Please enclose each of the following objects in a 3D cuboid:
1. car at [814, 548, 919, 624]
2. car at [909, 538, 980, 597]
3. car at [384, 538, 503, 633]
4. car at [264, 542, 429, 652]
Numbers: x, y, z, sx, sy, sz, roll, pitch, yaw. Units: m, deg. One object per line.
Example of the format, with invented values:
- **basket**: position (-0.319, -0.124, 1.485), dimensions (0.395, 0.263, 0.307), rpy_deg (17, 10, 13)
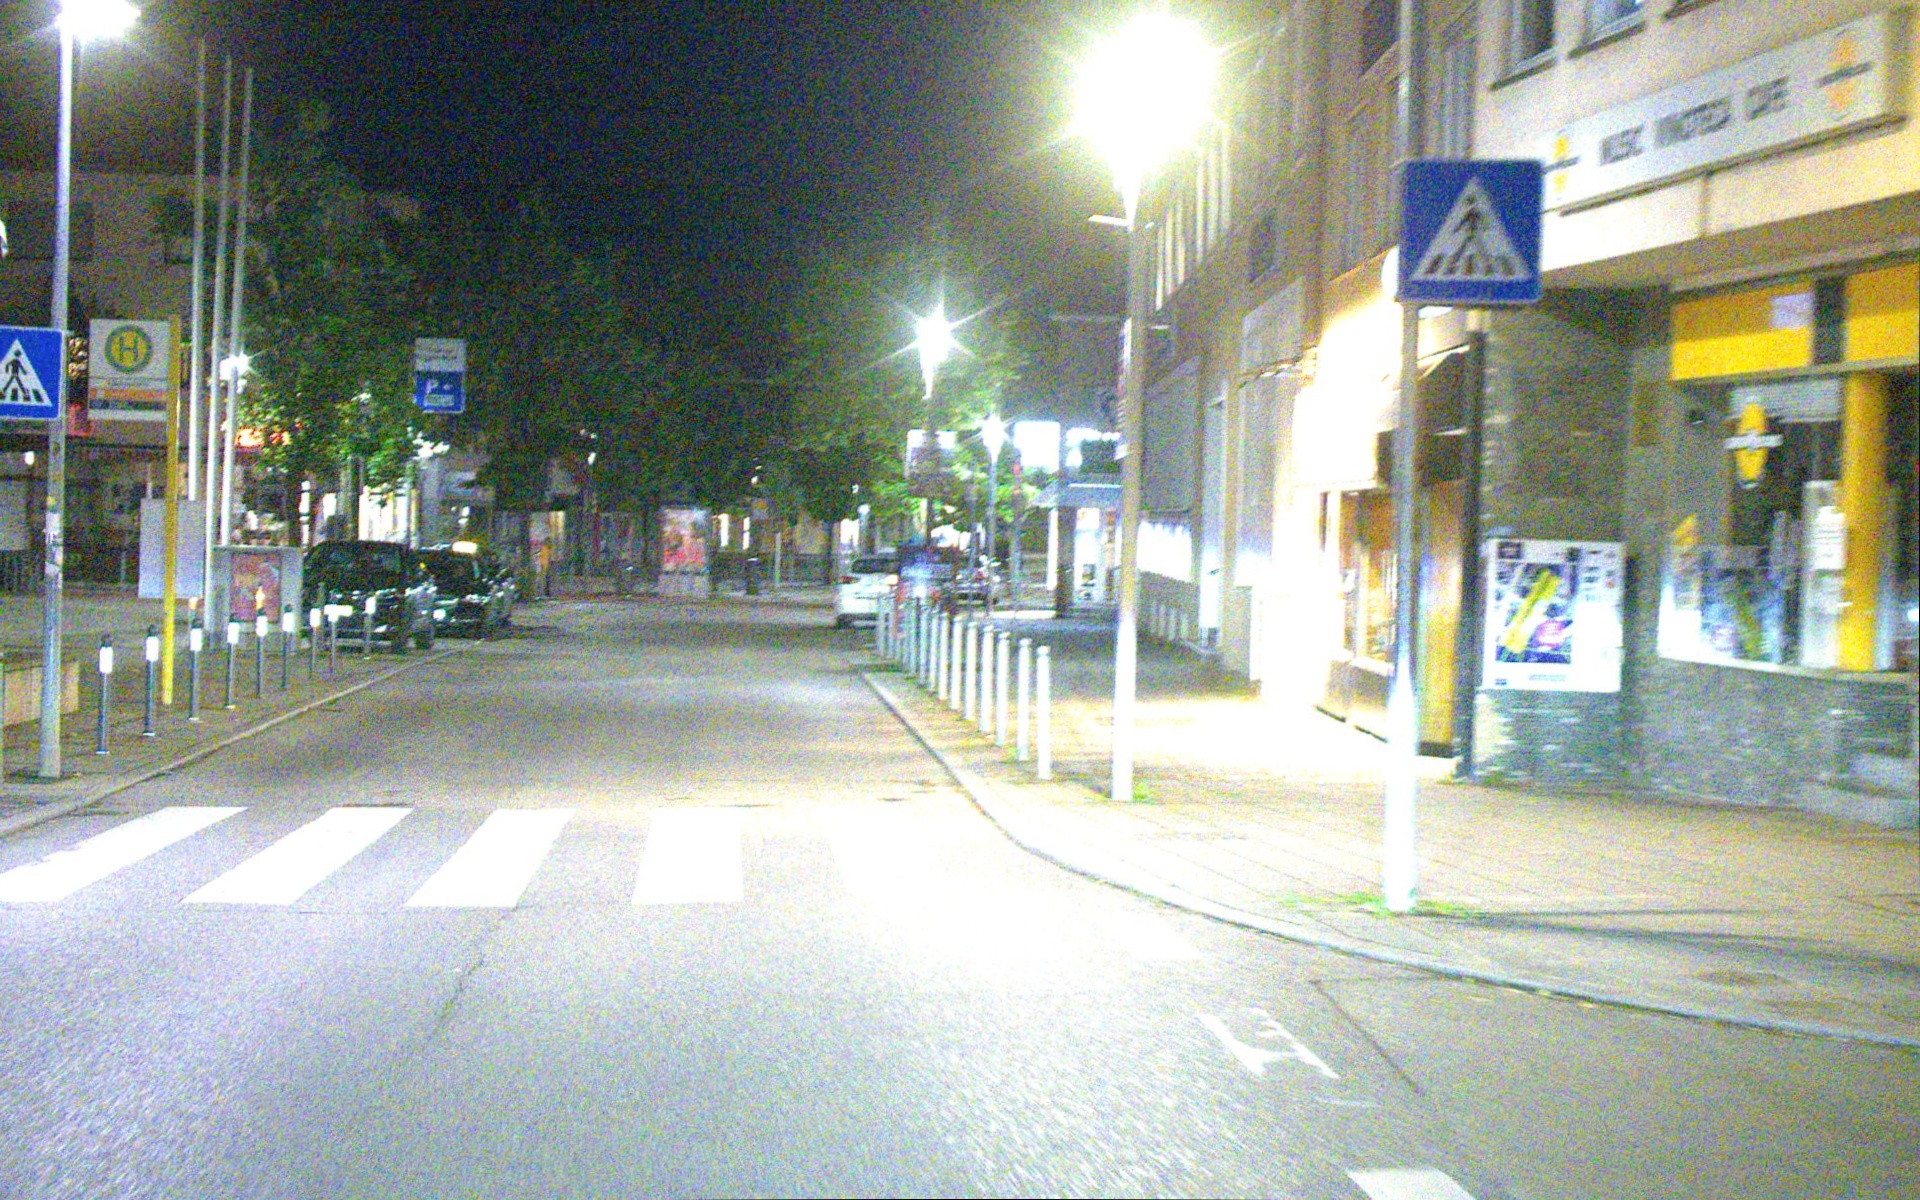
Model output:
- **car**: position (-1.875, -0.298, 67.698), dimensions (1.833, 1.354, 4.001), rpy_deg (0, 2, -5)
- **car**: position (-0.457, -0.923, 96.980), dimensions (1.709, 1.542, 3.540), rpy_deg (0, 2, -5)
- **car**: position (-8.747, -0.276, 58.026), dimensions (1.833, 1.448, 4.002), rpy_deg (-1, 2, -11)
- **car**: position (-8.434, -0.055, 47.518), dimensions (1.833, 1.448, 4.001), rpy_deg (0, 0, -4)
